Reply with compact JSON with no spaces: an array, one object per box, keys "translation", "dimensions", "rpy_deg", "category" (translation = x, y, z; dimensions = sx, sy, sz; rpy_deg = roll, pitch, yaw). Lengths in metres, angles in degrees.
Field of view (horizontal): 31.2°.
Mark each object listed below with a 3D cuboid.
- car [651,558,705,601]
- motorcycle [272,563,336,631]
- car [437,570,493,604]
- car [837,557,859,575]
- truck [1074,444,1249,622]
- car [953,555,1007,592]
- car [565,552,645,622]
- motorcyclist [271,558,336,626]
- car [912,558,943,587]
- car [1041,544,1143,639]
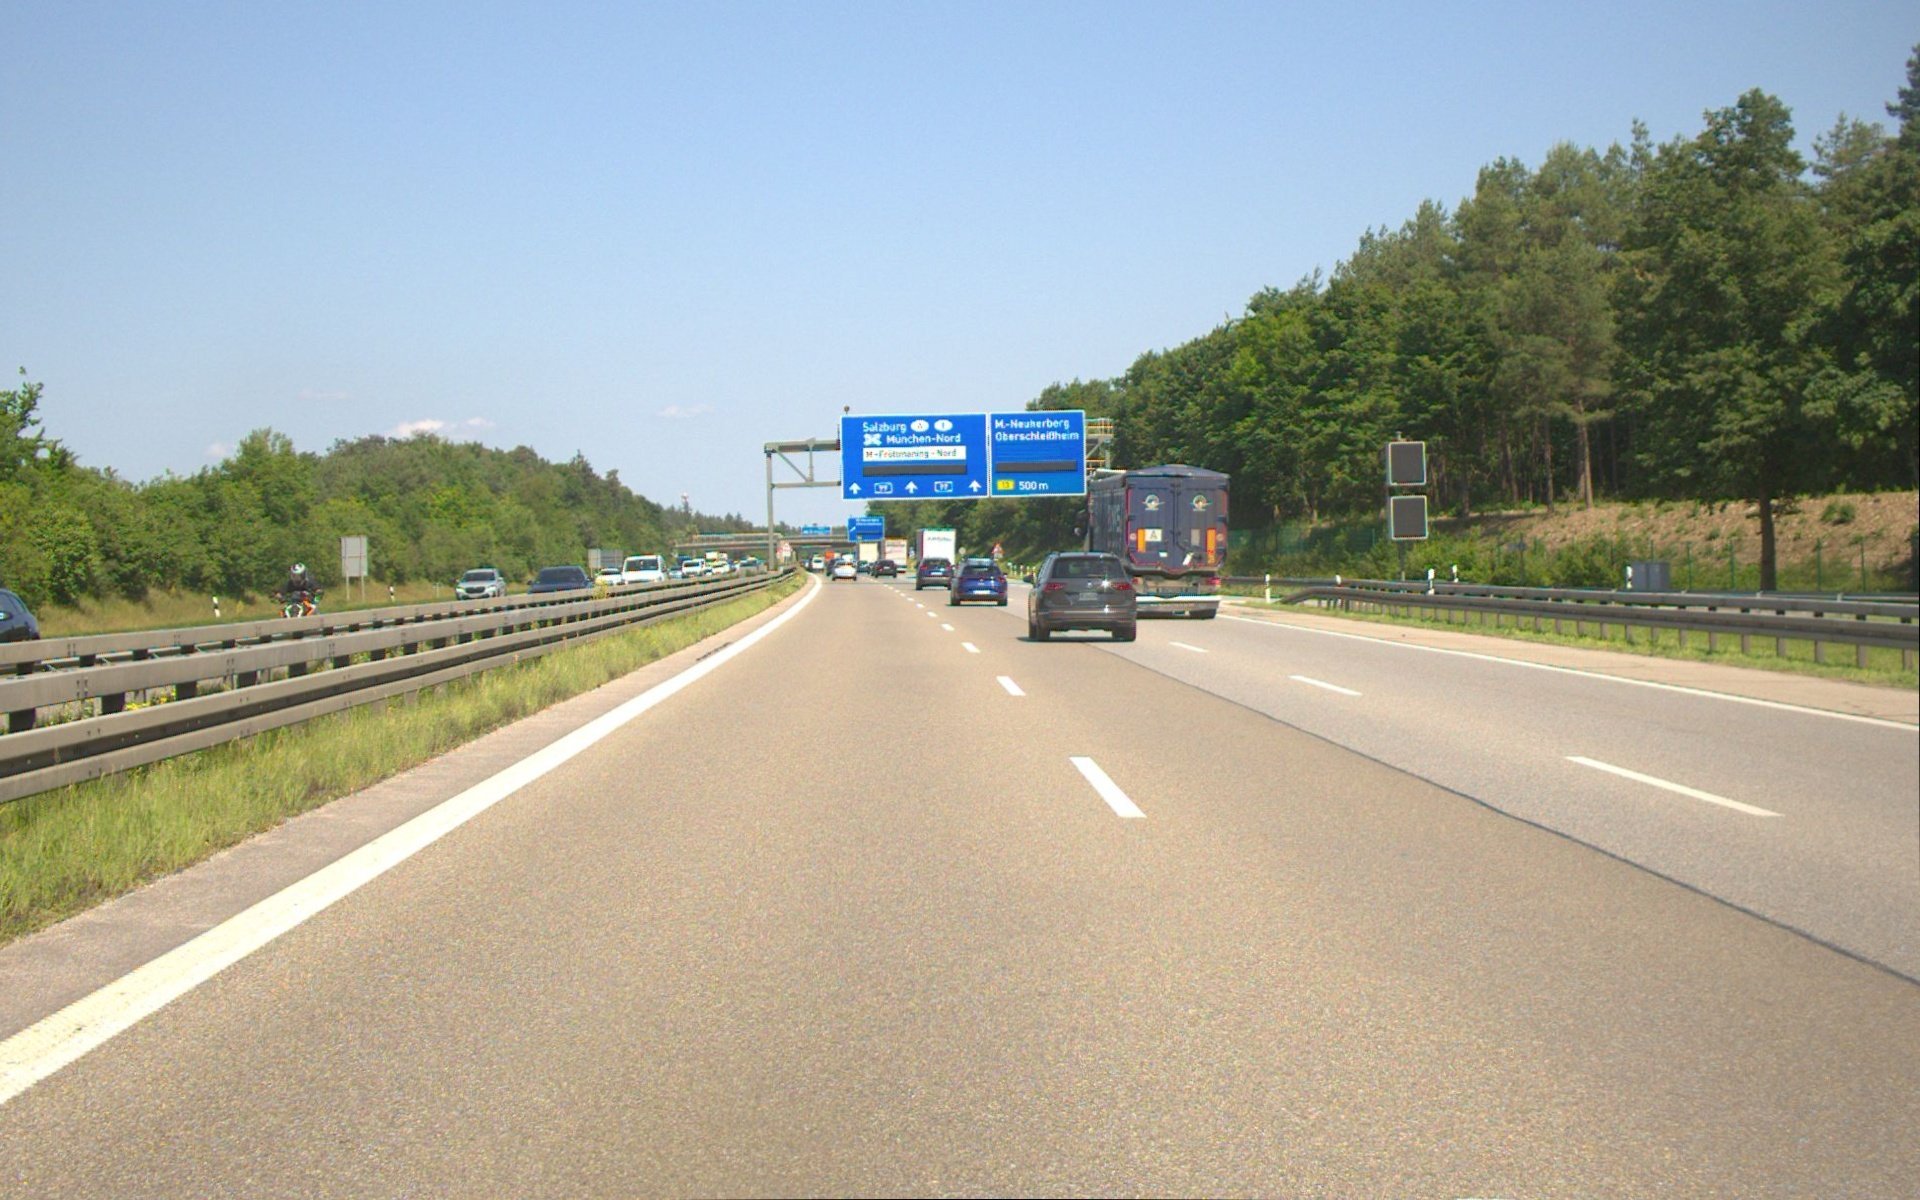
[{"translation":[-12.494,-0.918,152.771],"dimensions":[1.920,1.866,5.517],"rpy_deg":[1,0,0],"category":"car"},{"translation":[-10.727,-0.058,56.286],"dimensions":[0.664,1.072,1.881],"rpy_deg":[-2,1,0],"category":"motorcycle"},{"translation":[-21.498,-0.562,149.474],"dimensions":[1.788,1.434,4.521],"rpy_deg":[0,1,0],"category":"car"},{"translation":[-7.999,-2.450,245.396],"dimensions":[1.471,1.223,3.410],"rpy_deg":[-1,1,0],"category":"car"},{"translation":[5.218,-1.775,91.984],"dimensions":[3.780,4.407,14.051],"rpy_deg":[0,1,0],"category":"truck"},{"translation":[0.631,-0.879,111.842],"dimensions":[1.709,1.151,3.689],"rpy_deg":[-1,1,0],"category":"car"},{"translation":[-10.612,-0.405,103.030],"dimensions":[1.993,2.007,4.000],"rpy_deg":[-1,1,-1],"category":"car"},{"translation":[-10.732,-0.136,56.240],"dimensions":[0.875,1.072,0.811],"rpy_deg":[-2,1,0],"category":"motorcyclist"},{"translation":[-1.593,-1.365,170.180],"dimensions":[1.471,1.393,3.410],"rpy_deg":[2,1,0],"category":"car"},{"translation":[2.440,-0.190,63.633],"dimensions":[1.799,1.663,4.258],"rpy_deg":[1,1,2],"category":"car"}]
